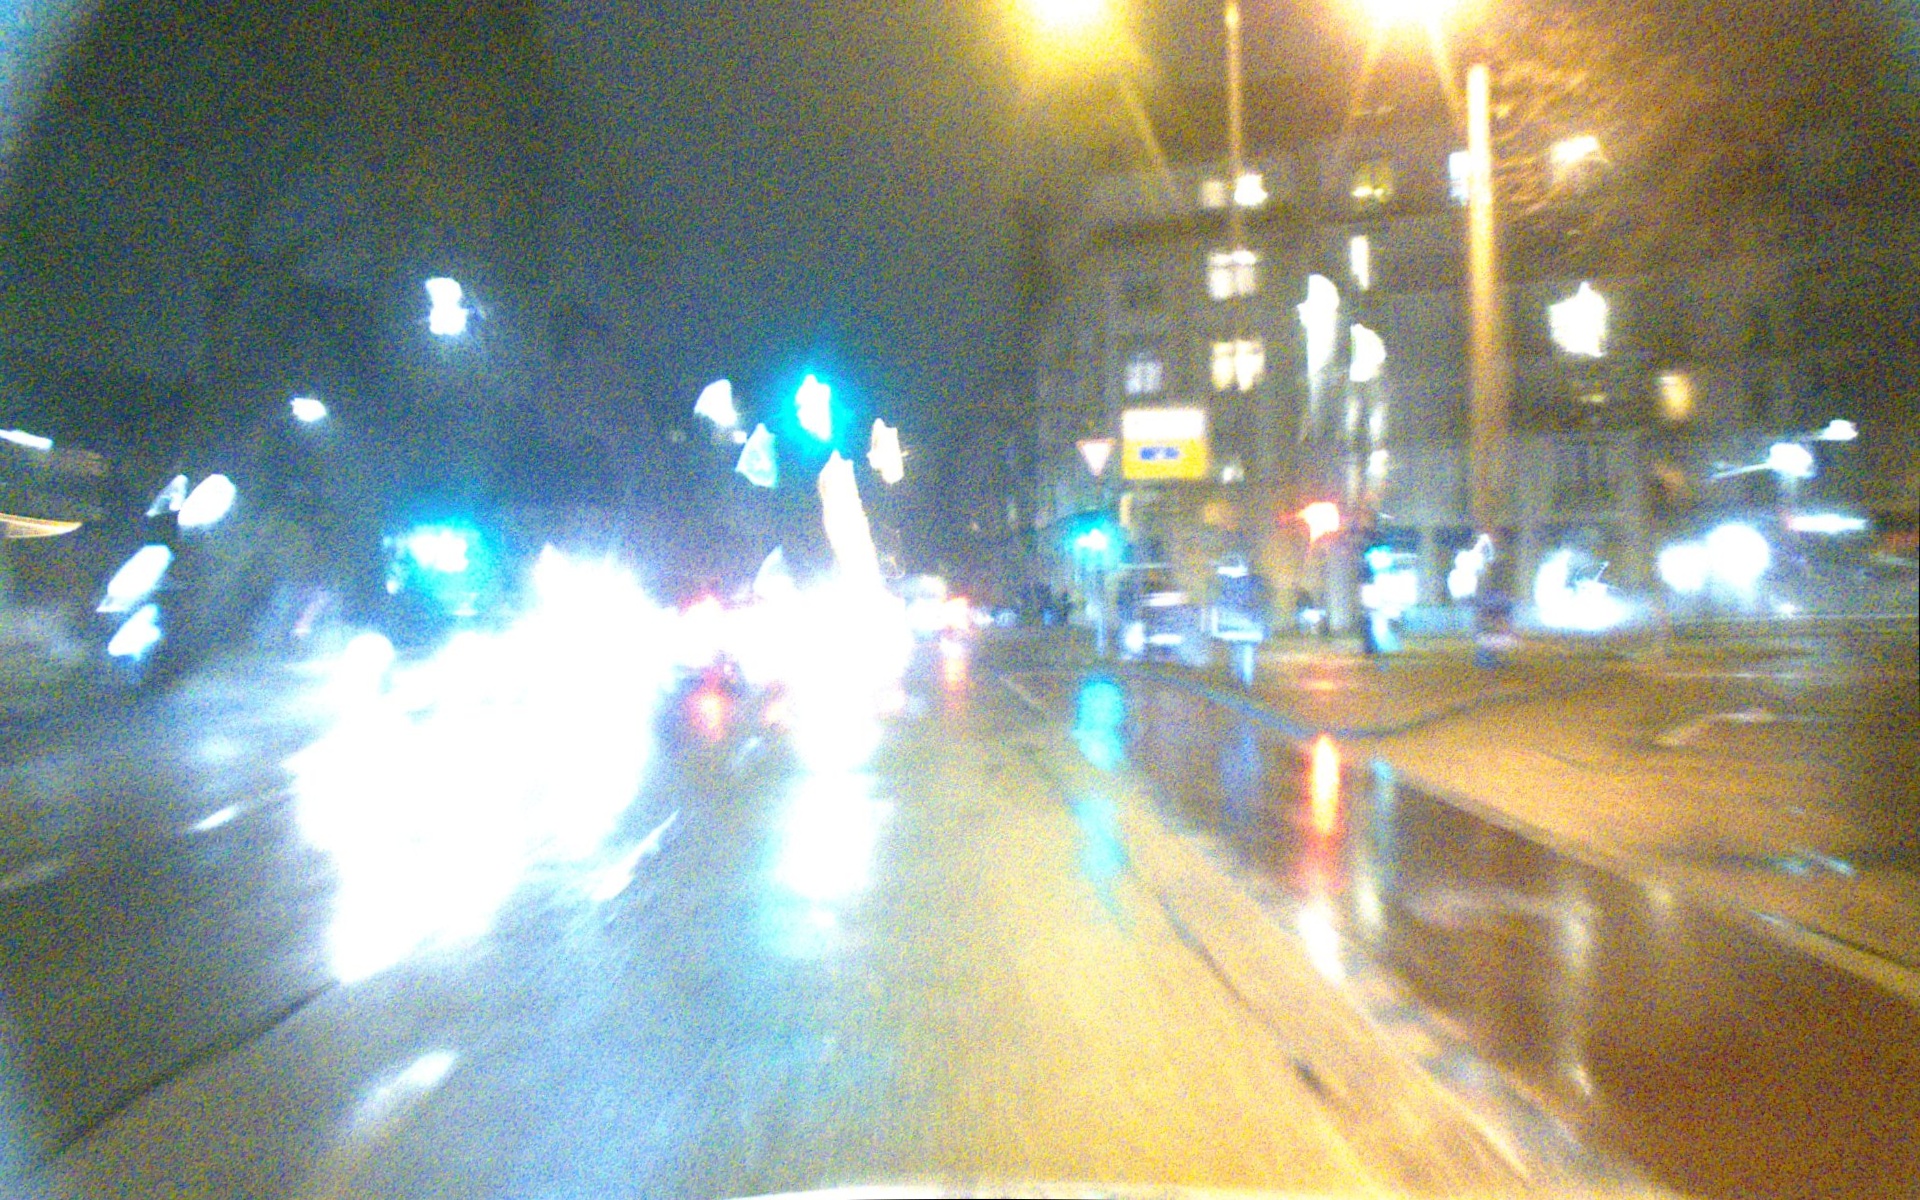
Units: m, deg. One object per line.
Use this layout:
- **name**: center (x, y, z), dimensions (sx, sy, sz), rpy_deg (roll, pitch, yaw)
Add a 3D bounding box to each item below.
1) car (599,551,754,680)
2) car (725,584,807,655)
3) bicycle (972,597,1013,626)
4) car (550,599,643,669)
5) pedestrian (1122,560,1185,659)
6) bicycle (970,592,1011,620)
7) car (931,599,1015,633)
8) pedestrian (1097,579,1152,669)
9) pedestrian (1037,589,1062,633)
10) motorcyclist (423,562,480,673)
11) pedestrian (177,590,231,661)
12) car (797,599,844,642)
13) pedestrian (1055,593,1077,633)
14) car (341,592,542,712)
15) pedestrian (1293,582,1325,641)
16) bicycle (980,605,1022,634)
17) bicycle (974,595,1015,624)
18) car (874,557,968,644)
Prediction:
- **car**: center (-4.962, 0.223, 29.719), dimensions (1.993, 1.987, 5.197), rpy_deg (-3, 1, -2)
- **car**: center (-4.629, 0.455, 39.987), dimensions (1.782, 1.569, 4.721), rpy_deg (-1, 0, -5)
- **bicycle**: center (1.605, 0.566, 81.019), dimensions (1.861, 1.273, 0.595), rpy_deg (-3, -1, -9)
- **car**: center (-9.041, 0.805, 41.368), dimensions (1.613, 1.537, 4.105), rpy_deg (-4, 1, -4)
- **pedestrian**: center (3.702, 0.176, 31.683), dimensions (1.084, 1.857, 0.851), rpy_deg (-1, 0, 1)
- **bicycle**: center (1.506, 0.291, 81.677), dimensions (1.861, 1.273, 0.595), rpy_deg (-3, -1, -9)
- **car**: center (0.684, 0.805, 84.932), dimensions (4.150, 1.483, 1.829), rpy_deg (-3, 1, -42)
- **pedestrian**: center (3.488, 0.492, 35.111), dimensions (1.084, 1.857, 0.851), rpy_deg (-1, 0, 3)
- **pedestrian**: center (3.987, 0.480, 73.745), dimensions (0.938, 1.914, 0.999), rpy_deg (-2, 0, -3)
- **motorcyclist**: center (-9.598, 0.320, 31.245), dimensions (0.678, 2.049, 0.983), rpy_deg (-1, 0, 2)
- **pedestrian**: center (-19.185, 0.650, 41.991), dimensions (0.755, 1.766, 0.966), rpy_deg (-1, 0, 34)
- **car**: center (-5.525, 0.800, 65.114), dimensions (1.674, 1.569, 3.983), rpy_deg (-1, 0, -7)
- **pedestrian**: center (4.458, 0.522, 69.344), dimensions (0.765, 1.646, 0.999), rpy_deg (-2, 0, -3)
- **car**: center (-7.509, 0.677, 24.423), dimensions (1.816, 1.525, 4.764), rpy_deg (-1, 1, -5)
- **pedestrian**: center (12.618, 0.396, 59.799), dimensions (0.953, 2.048, 1.016), rpy_deg (-2, 2, 19)
- **bicycle**: center (1.946, 0.944, 78.863), dimensions (1.861, 1.273, 0.709), rpy_deg (-3, -1, -9)
- **bicycle**: center (1.694, 0.472, 80.347), dimensions (1.861, 1.273, 0.595), rpy_deg (-3, -1, -9)
- **car**: center (-1.034, 0.025, 41.403), dimensions (2.125, 2.006, 4.299), rpy_deg (-2, 0, -4)
